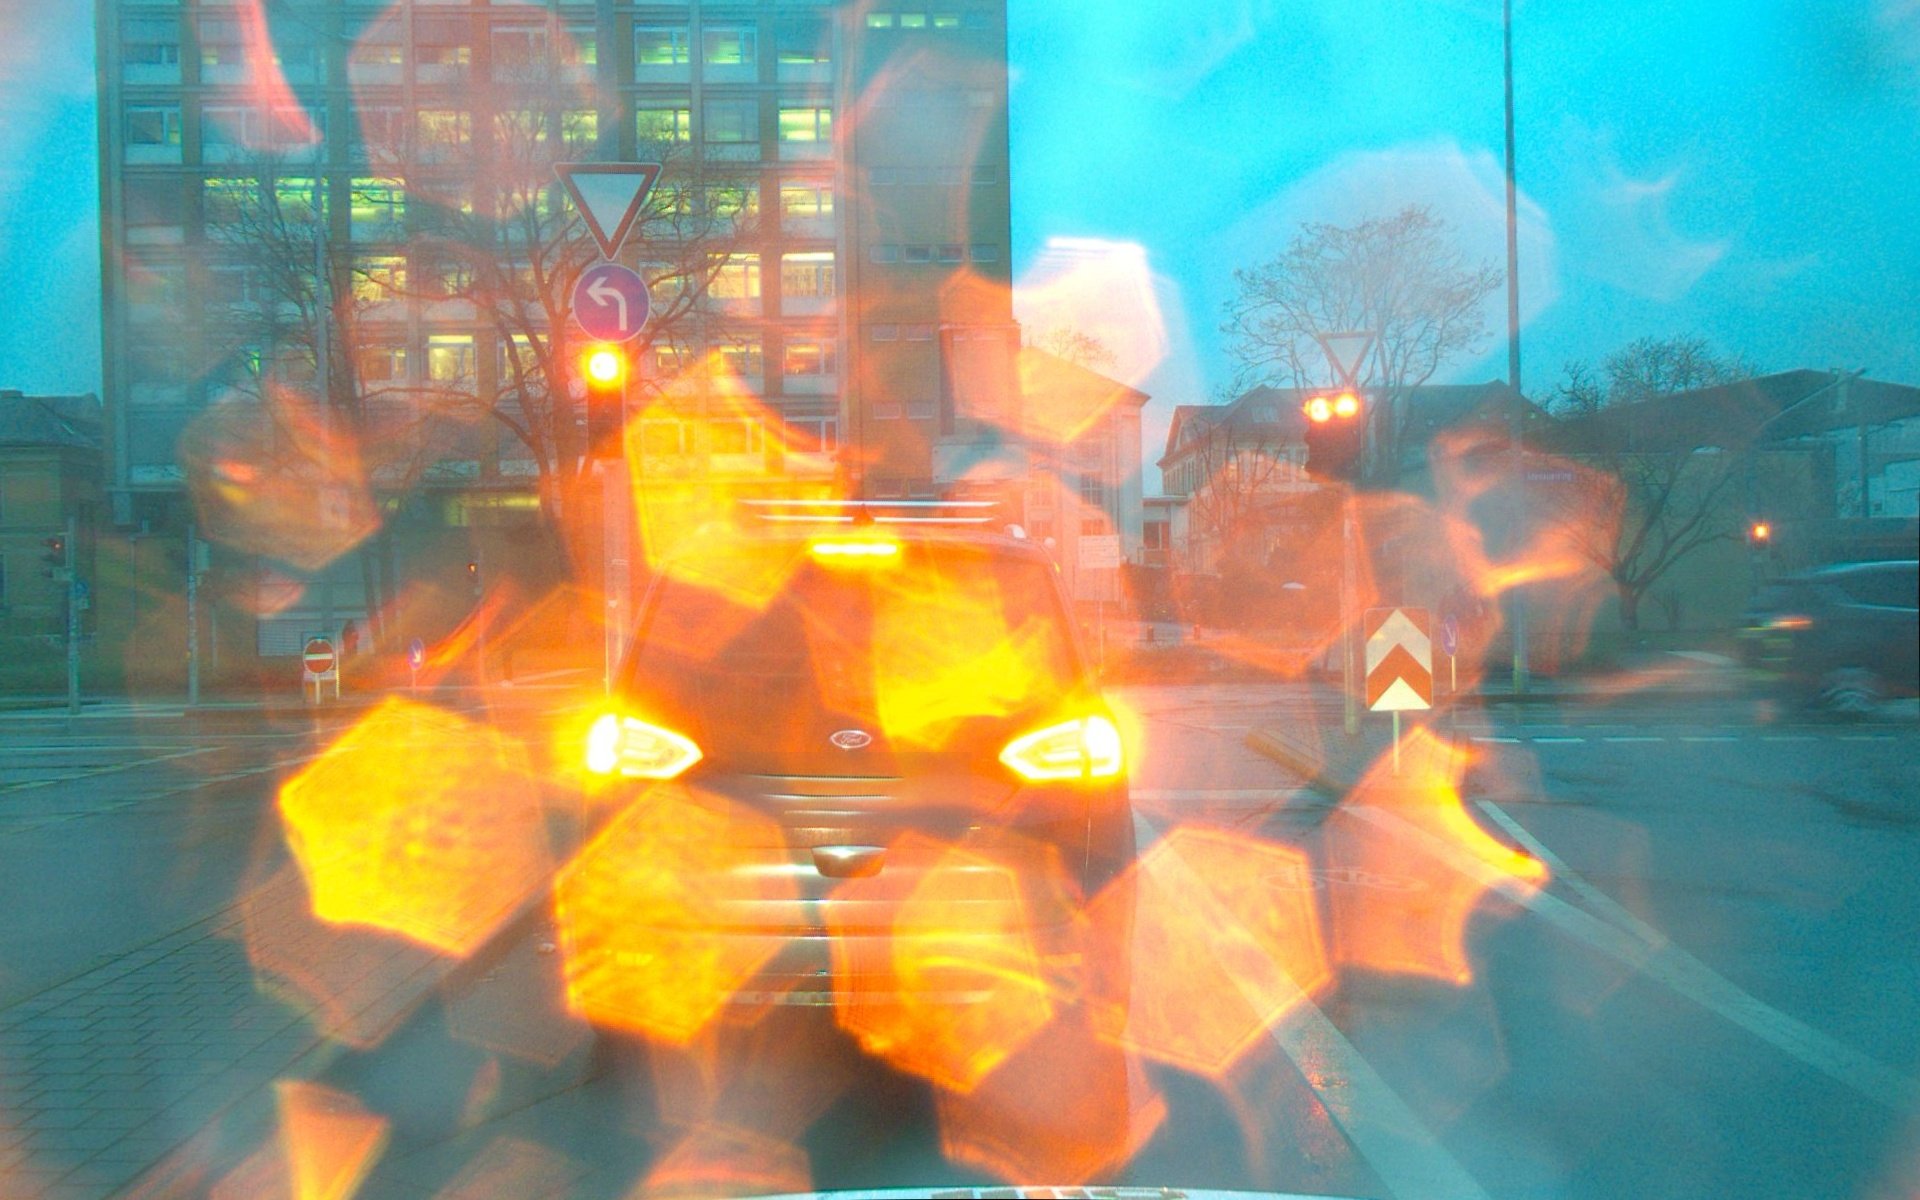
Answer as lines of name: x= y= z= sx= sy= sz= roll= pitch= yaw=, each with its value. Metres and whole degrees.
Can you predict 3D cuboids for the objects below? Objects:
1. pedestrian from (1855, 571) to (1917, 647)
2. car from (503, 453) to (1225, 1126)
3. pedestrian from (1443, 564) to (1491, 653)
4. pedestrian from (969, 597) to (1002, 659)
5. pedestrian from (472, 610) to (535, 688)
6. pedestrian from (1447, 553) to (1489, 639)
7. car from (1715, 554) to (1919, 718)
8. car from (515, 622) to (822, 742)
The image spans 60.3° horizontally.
pedestrian: x=22.862 y=0.209 z=40.861 sx=0.976 sy=1.831 sz=0.919 roll=-2 pitch=0 yaw=0
car: x=-0.286 y=0.532 z=6.546 sx=1.953 sy=1.821 sz=3.999 roll=1 pitch=0 yaw=-1
pedestrian: x=12.592 y=0.211 z=41.104 sx=0.875 sy=2.150 sz=0.886 roll=-2 pitch=0 yaw=-1
pedestrian: x=0.685 y=0.751 z=44.786 sx=0.743 sy=1.656 sz=0.558 roll=-2 pitch=0 yaw=12
pedestrian: x=-11.763 y=1.255 z=42.616 sx=0.981 sy=1.874 sz=1.139 roll=-2 pitch=2 yaw=22
pedestrian: x=12.917 y=-0.111 z=42.056 sx=0.874 sy=2.150 sz=0.886 roll=-2 pitch=0 yaw=11
car: x=10.986 y=0.356 z=18.517 sx=4.217 sy=1.719 sz=1.842 roll=-2 pitch=-1 yaw=7
car: x=-4.263 y=1.201 z=24.460 sx=4.035 sy=1.610 sz=1.843 roll=-2 pitch=-1 yaw=12
